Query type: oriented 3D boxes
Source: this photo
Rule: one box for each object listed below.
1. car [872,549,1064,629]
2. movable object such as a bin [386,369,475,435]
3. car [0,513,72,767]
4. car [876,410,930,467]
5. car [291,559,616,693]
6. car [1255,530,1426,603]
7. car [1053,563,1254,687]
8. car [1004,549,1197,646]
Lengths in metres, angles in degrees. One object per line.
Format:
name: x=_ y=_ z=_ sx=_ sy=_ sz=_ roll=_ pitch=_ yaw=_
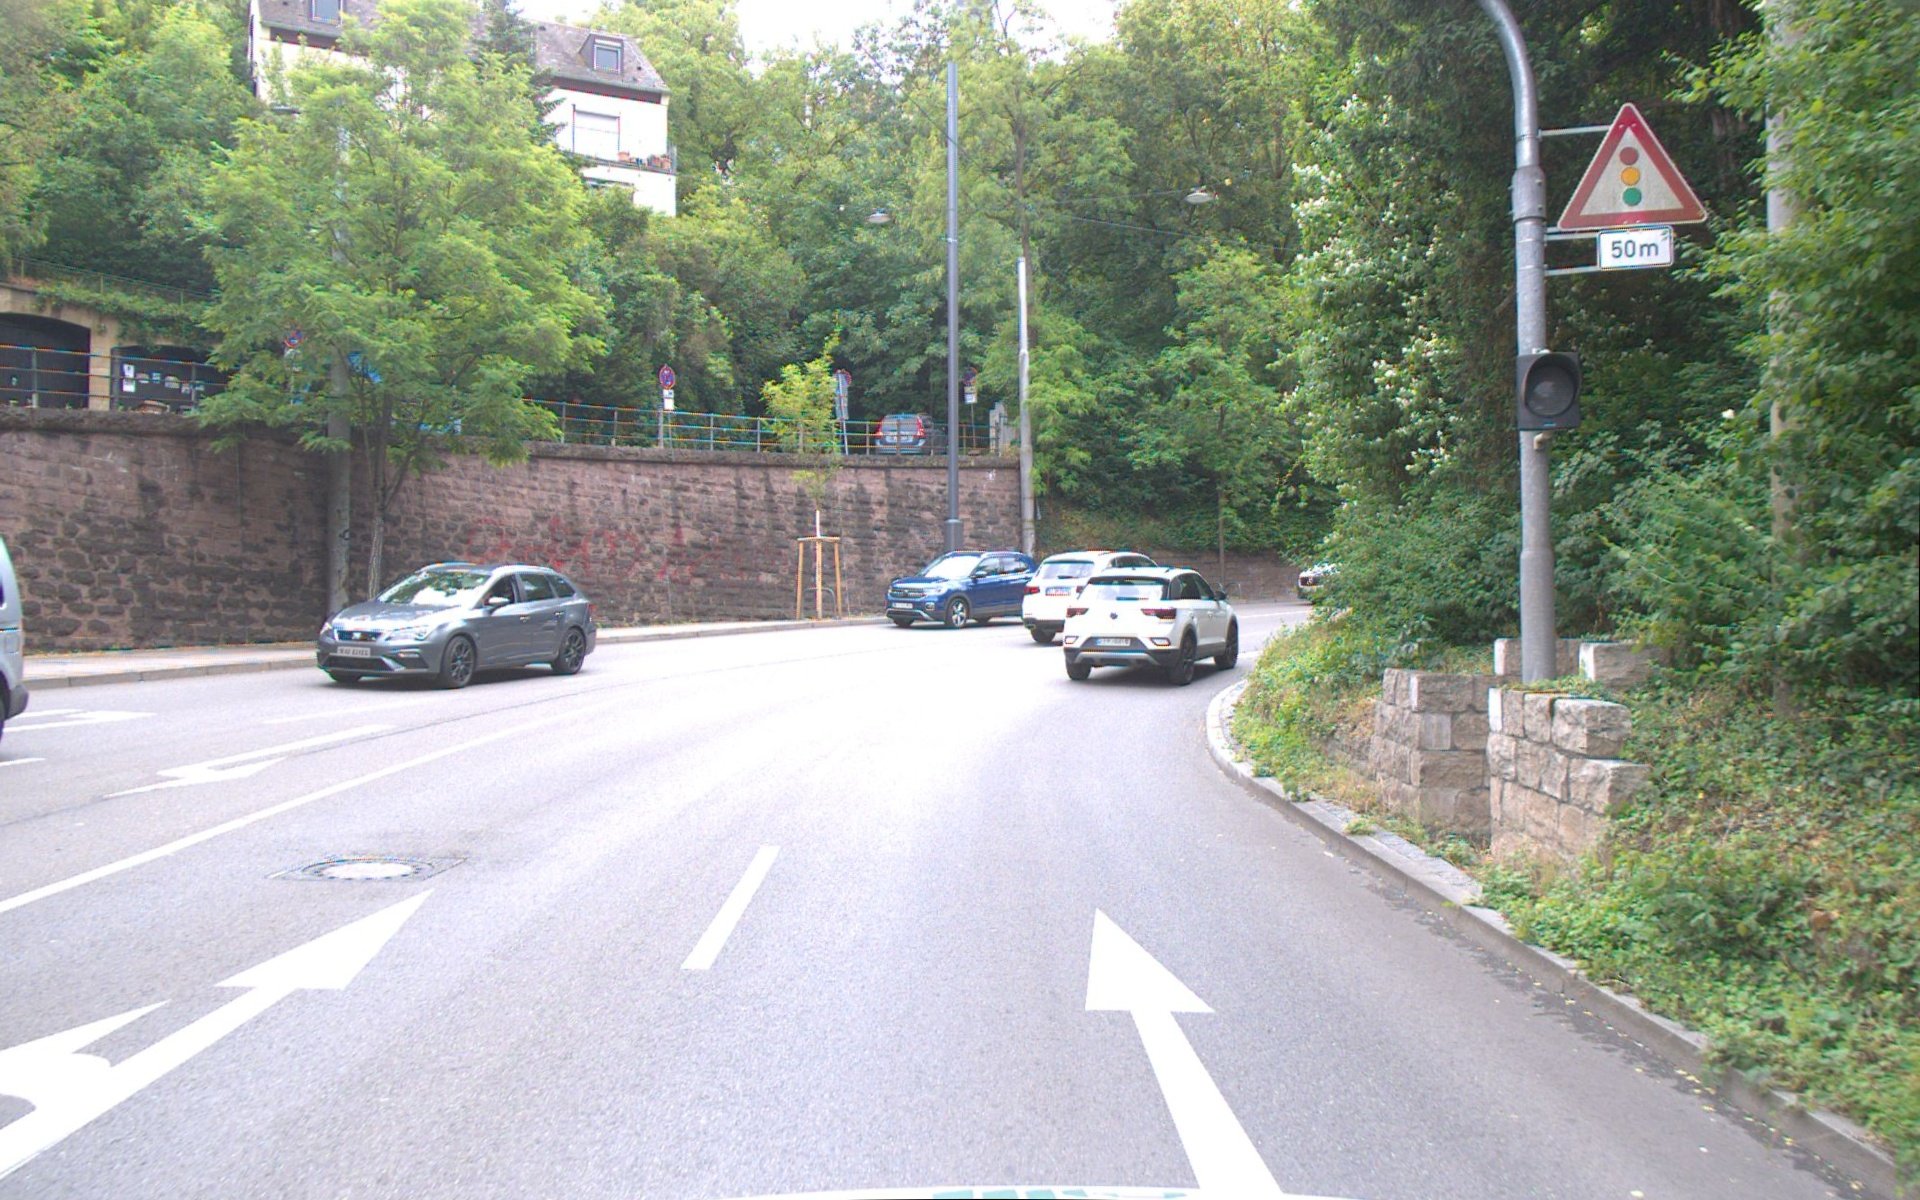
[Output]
car: x=0.215 y=-0.286 z=35.620 sx=4.170 sy=1.554 sz=1.704 roll=-2 pitch=3 yaw=-44
movable object such as a bin: x=-12.886 y=-4.802 z=40.262 sx=1.227 sy=1.379 sz=1.599 roll=-2 pitch=1 yaw=36
car: x=-8.005 y=0.264 z=10.655 sx=1.817 sy=1.845 sz=4.452 roll=3 pitch=1 yaw=5
car: x=-1.785 y=-5.122 z=52.657 sx=1.643 sy=1.403 sz=3.734 roll=1 pitch=0 yaw=-1
car: x=-6.334 y=0.237 z=21.258 sx=1.746 sy=1.492 sz=4.405 roll=2 pitch=2 yaw=19
car: x=10.189 y=-0.939 z=44.206 sx=4.612 sy=1.794 sz=1.807 roll=-3 pitch=4 yaw=-33
car: x=2.947 y=0.282 z=24.374 sx=1.719 sy=1.579 sz=4.336 roll=1 pitch=2 yaw=24
car: x=2.761 y=-0.119 z=31.525 sx=1.825 sy=1.633 sz=4.662 roll=2 pitch=3 yaw=30
